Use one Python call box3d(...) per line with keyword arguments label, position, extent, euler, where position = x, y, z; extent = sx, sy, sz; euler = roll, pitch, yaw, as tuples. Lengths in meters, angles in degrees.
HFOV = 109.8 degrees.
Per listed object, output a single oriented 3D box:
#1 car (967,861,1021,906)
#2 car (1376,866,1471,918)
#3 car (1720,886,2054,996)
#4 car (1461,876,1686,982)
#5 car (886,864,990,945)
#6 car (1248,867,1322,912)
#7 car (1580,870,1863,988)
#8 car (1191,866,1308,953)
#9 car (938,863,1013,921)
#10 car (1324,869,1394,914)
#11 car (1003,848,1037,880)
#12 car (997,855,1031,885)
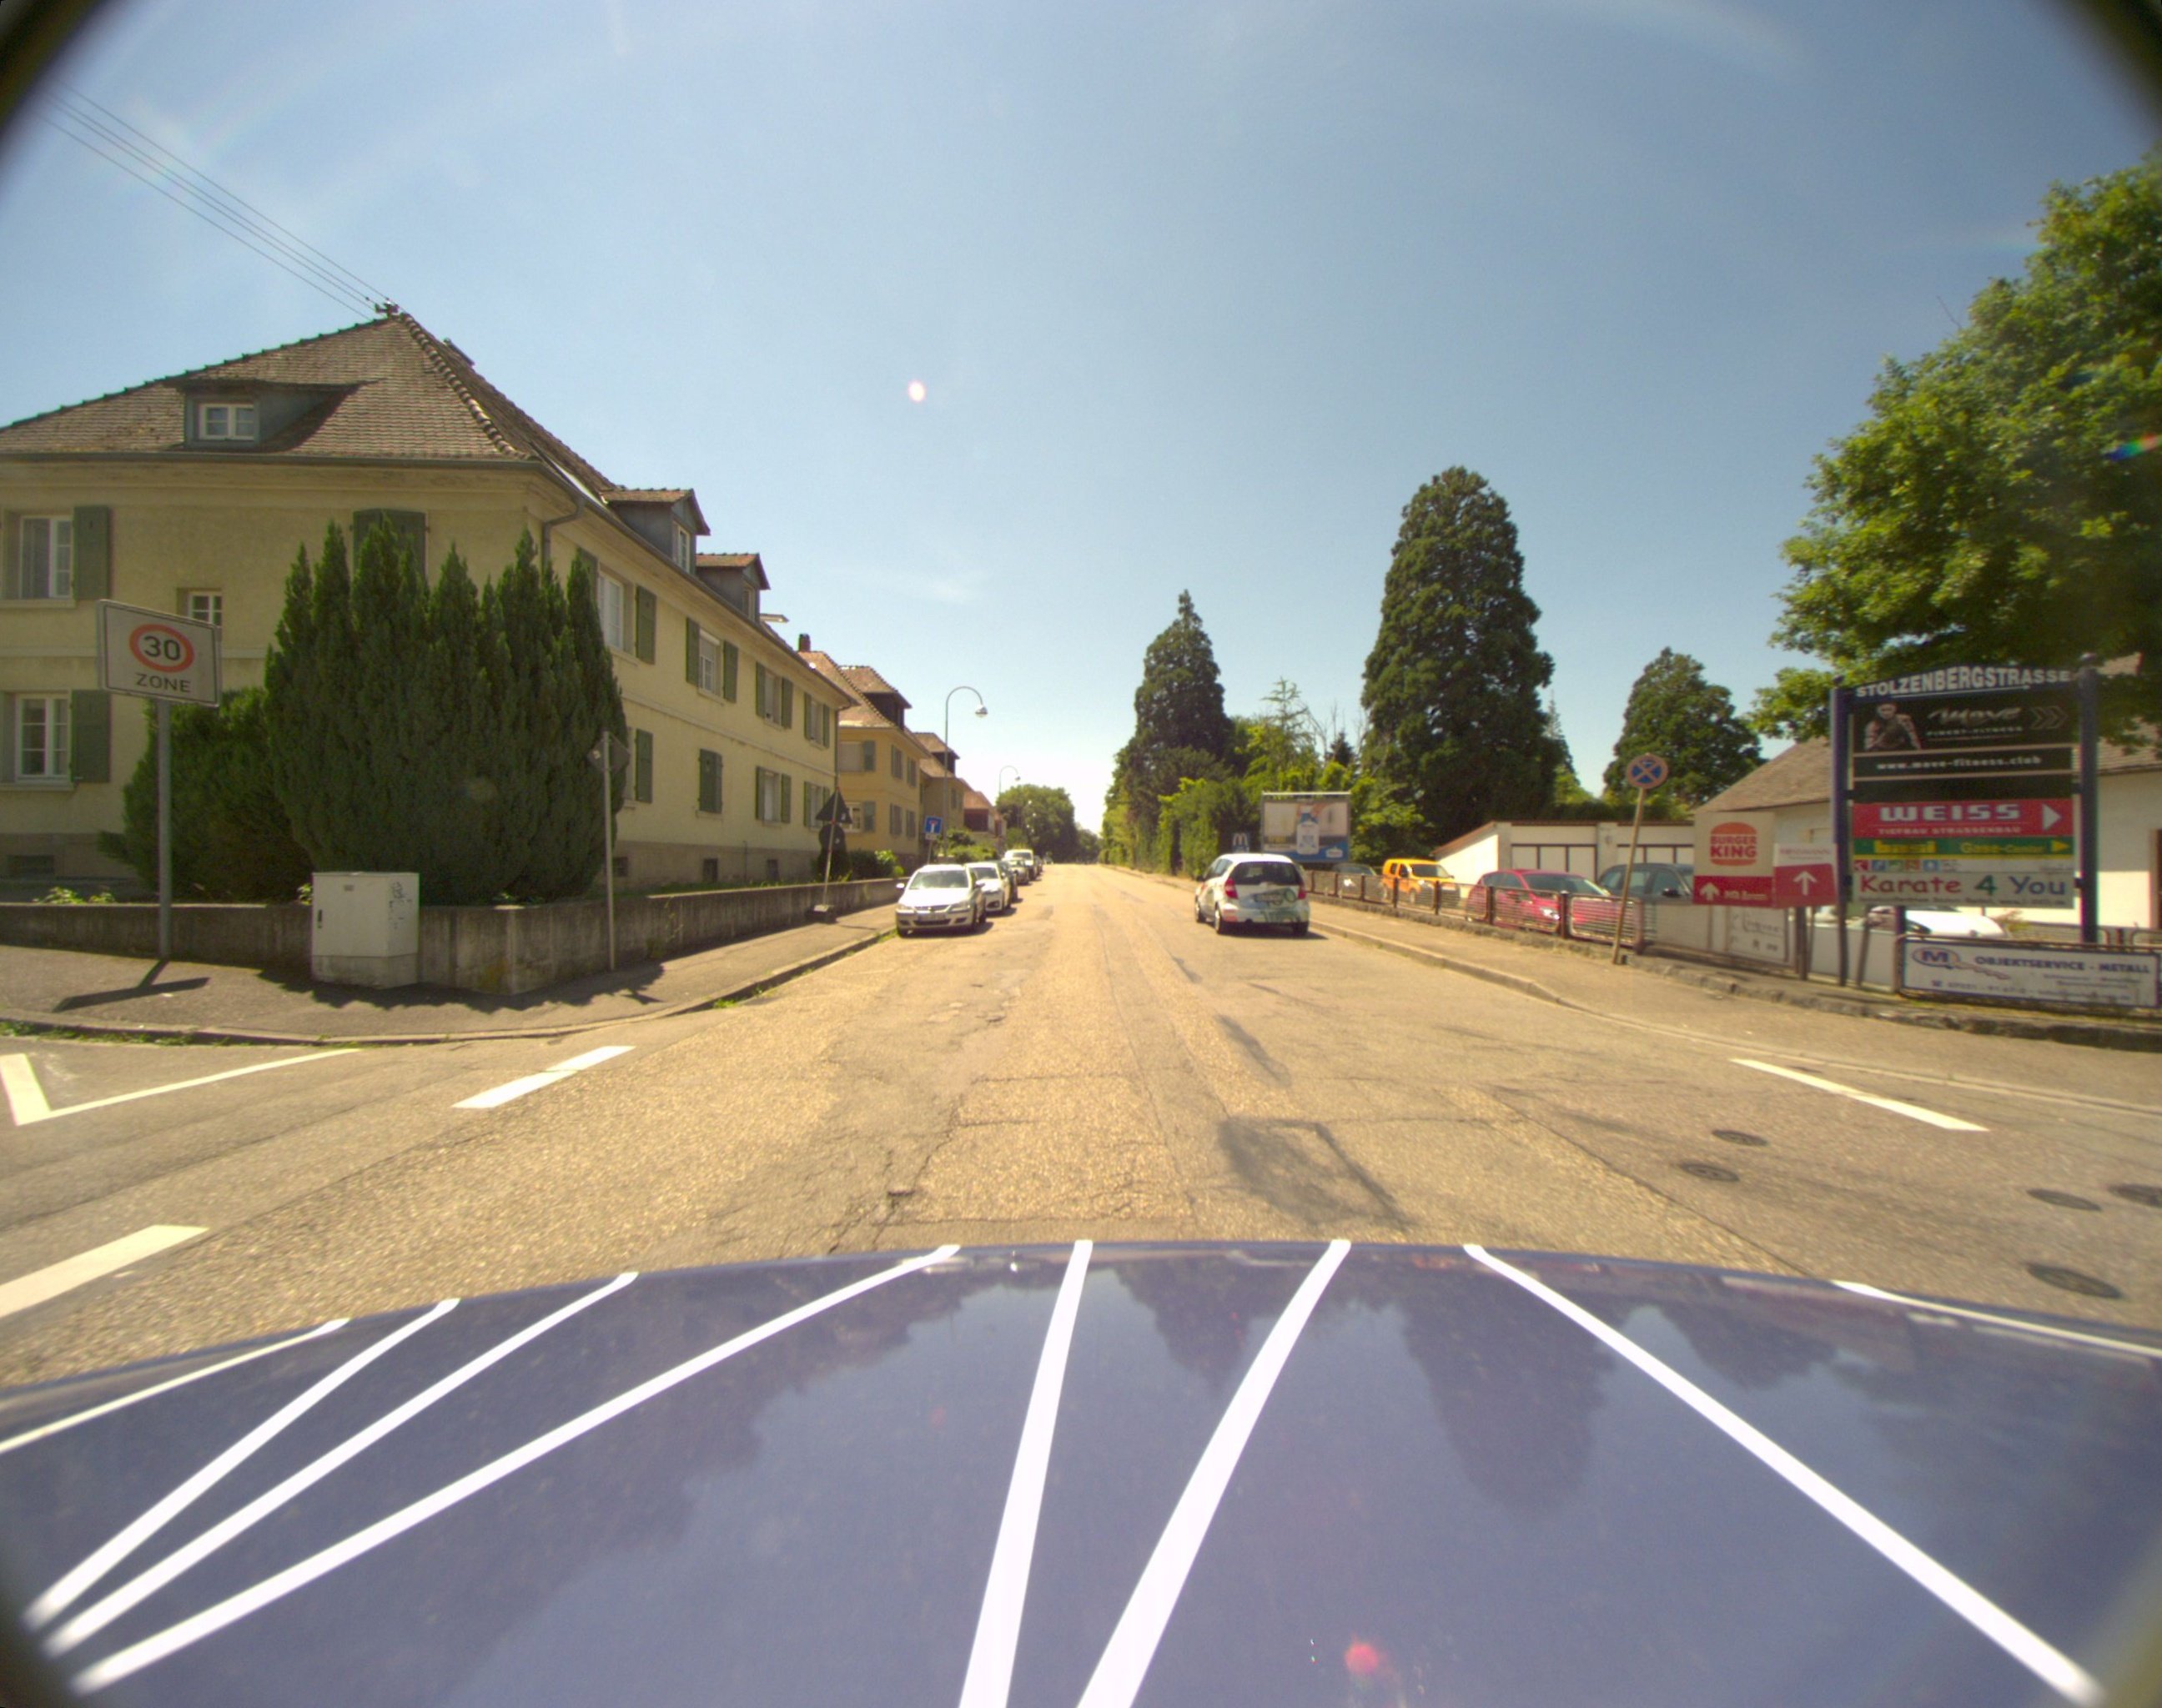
box3d(label="car", position=(-3.020, 0.980, 26.996), extent=(1.600, 1.422, 3.999), euler=(-2, 0, -3))
box3d(label="car", position=(13.397, 1.427, 30.011), extent=(1.799, 1.732, 3.998), euler=(1, 1, -1))
box3d(label="car", position=(13.636, 1.365, 13.290), extent=(1.798, 1.425, 4.002), euler=(2, 0, 6))
box3d(label="car", position=(8.737, 1.234, 13.952), extent=(1.798, 1.509, 4.002), euler=(2, 0, 6))
box3d(label="car", position=(-3.052, 1.016, 16.944), extent=(1.671, 1.457, 3.999), euler=(-2, 0, -2))
box3d(label="car", position=(8.146, 1.372, 30.707), extent=(1.799, 1.509, 3.998), euler=(1, 1, -1))
box3d(label="car", position=(11.306, 1.195, 13.956), extent=(1.797, 1.668, 4.628), euler=(2, 0, 9))
box3d(label="car", position=(3.437, 1.072, 16.202), extent=(1.656, 1.553, 3.885), euler=(1, 0, 1))
box3d(label="car", position=(-2.914, 1.009, 21.774), extent=(1.671, 1.427, 3.999), euler=(-2, 0, -2))
box3d(label="car", position=(11.099, 1.446, 30.605), extent=(1.797, 1.509, 4.002), euler=(2, 1, 7))
box3d(label="car", position=(-3.779, 0.558, 47.489), extent=(1.852, 1.858, 4.690), euler=(-2, 0, -2))
box3d(label="car", position=(-3.556, 0.827, 40.965), extent=(1.600, 1.495, 3.999), euler=(-2, 1, -3))
